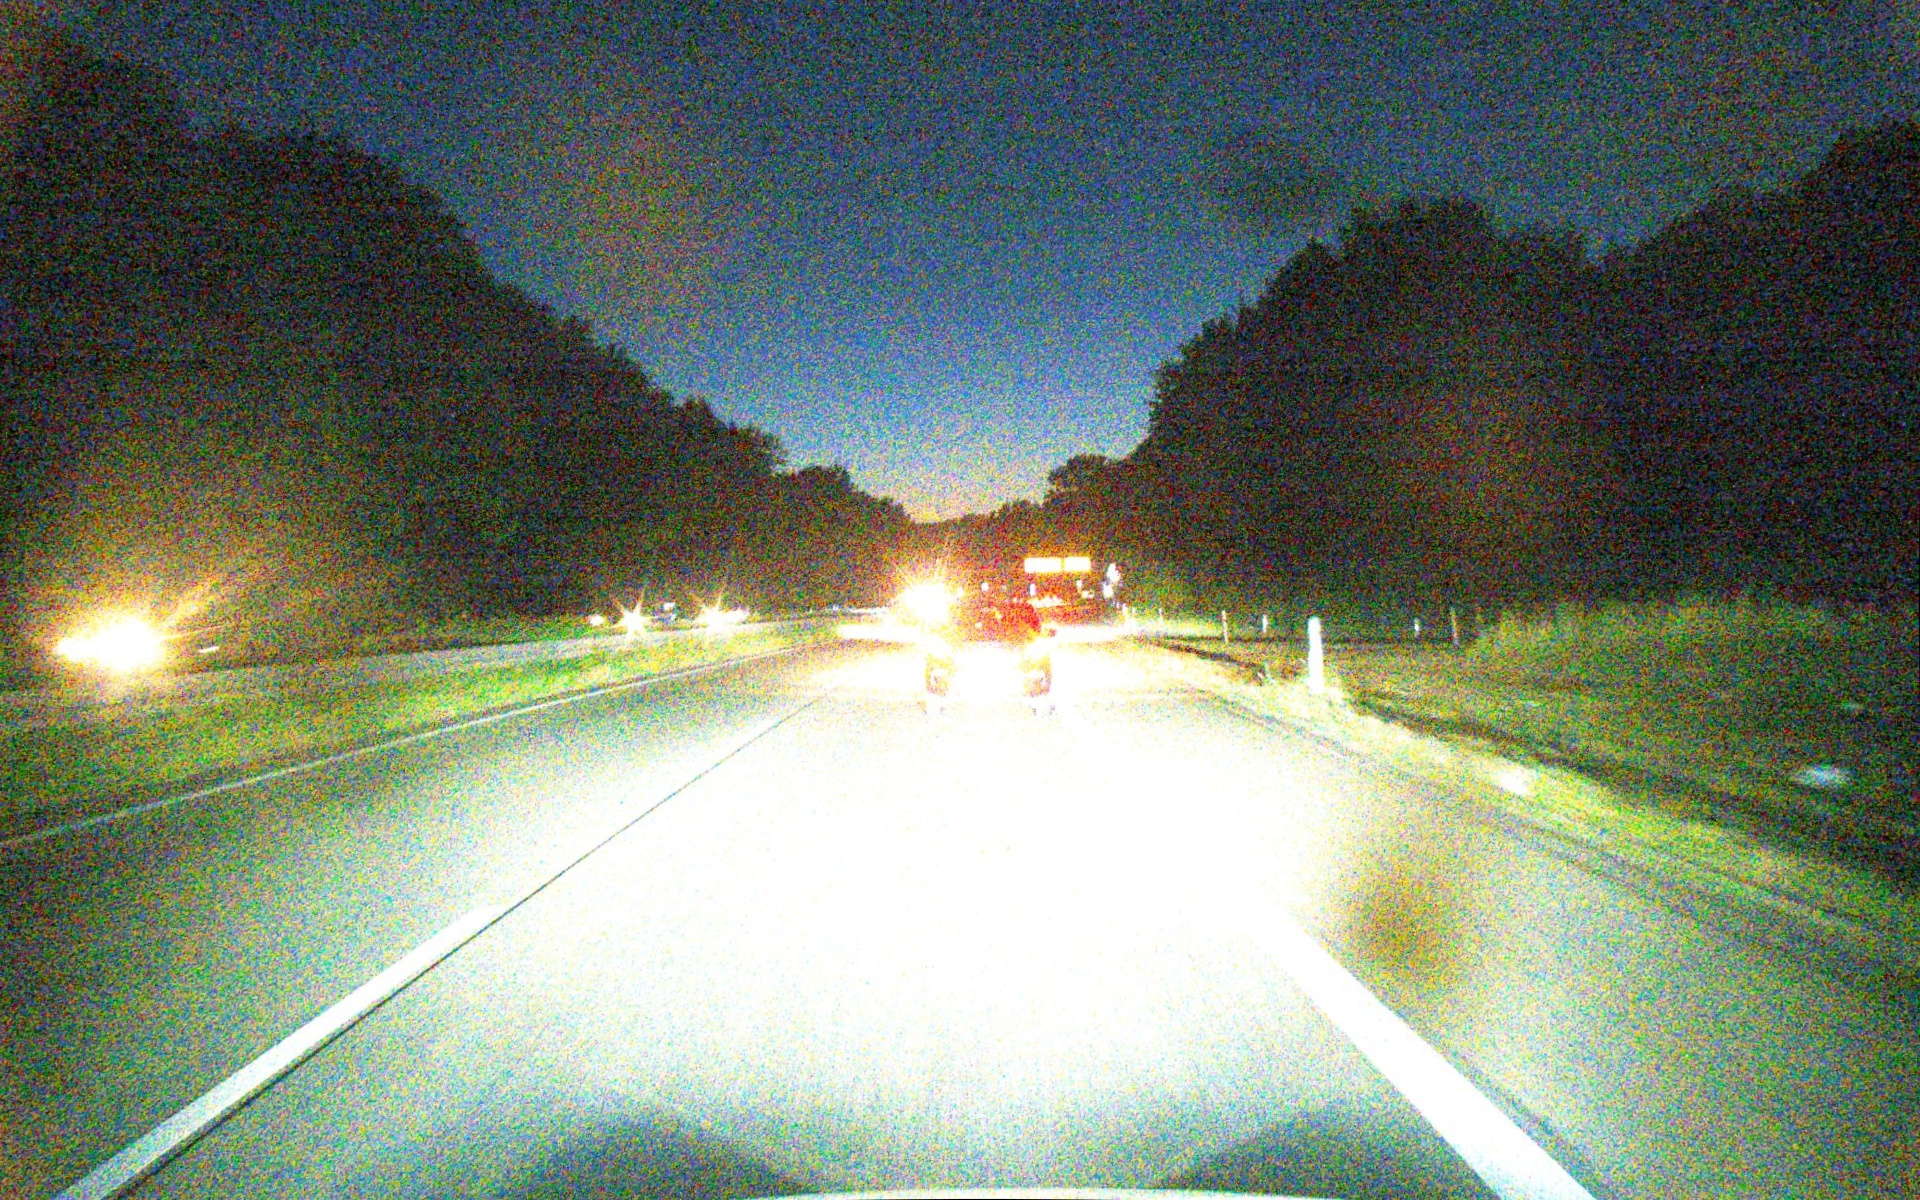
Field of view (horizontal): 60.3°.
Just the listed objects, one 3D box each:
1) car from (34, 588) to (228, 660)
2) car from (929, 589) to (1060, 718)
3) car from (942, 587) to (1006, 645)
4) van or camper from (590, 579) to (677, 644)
[{"bbox_3d":[-18.769,0.509,37.682,1.783,1.467,4.478,-2,0,6],"label":"car"},{"bbox_3d":[0.395,0.642,22.051,1.556,1.534,3.999,1,0,-1],"label":"car"},{"bbox_3d":[0.475,0.471,52.294,1.867,1.728,4.002,0,1,3],"label":"car"},{"bbox_3d":[-14.148,0.460,72.190,2.247,2.663,7.665,-1,0,0],"label":"van or camper"}]
